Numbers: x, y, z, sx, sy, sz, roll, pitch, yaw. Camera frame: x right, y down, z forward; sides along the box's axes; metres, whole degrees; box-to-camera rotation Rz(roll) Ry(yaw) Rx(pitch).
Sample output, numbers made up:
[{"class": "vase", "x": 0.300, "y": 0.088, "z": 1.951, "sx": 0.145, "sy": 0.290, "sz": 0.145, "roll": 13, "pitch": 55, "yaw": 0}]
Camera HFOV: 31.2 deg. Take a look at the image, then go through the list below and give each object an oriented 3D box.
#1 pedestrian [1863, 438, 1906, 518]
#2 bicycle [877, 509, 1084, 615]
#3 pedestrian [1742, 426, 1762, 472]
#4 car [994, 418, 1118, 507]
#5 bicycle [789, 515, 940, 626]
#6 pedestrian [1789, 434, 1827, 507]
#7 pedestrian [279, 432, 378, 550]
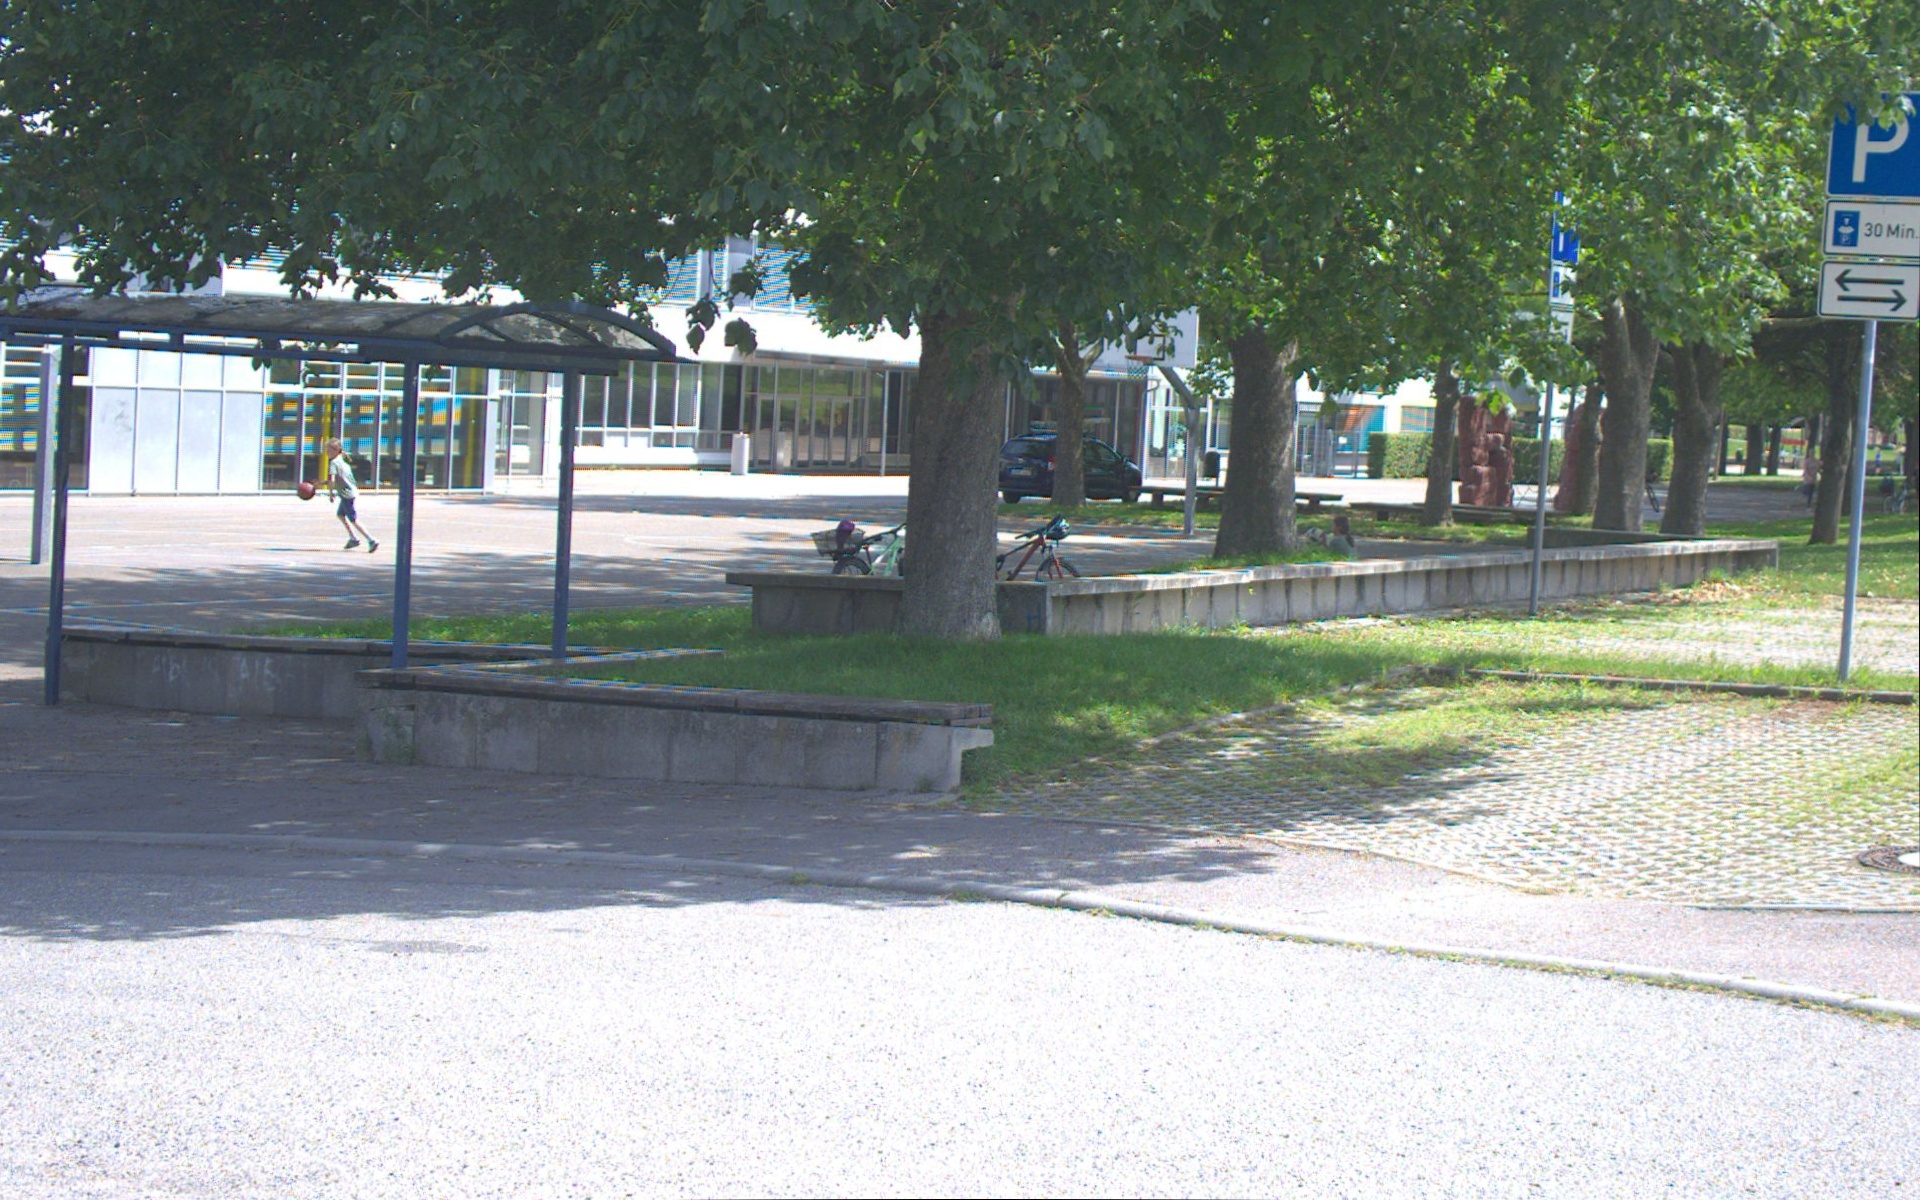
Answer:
[{"class": "pedestrian", "x": 23.530, "y": -3.107, "z": 87.502, "sx": 0.682, "sy": 2.006, "sz": 0.804, "roll": 2, "pitch": 2, "yaw": -11}, {"class": "bicycle", "x": 0.210, "y": -0.404, "z": 35.774, "sx": 2.063, "sy": 1.035, "sz": 0.572, "roll": 2, "pitch": 2, "yaw": 14}, {"class": "pedestrian", "x": 34.754, "y": -6.635, "z": 150.922, "sx": 0.724, "sy": 2.007, "sz": 0.682, "roll": 0, "pitch": 1, "yaw": 24}, {"class": "car", "x": 2.103, "y": -2.966, "z": 74.428, "sx": 1.693, "sy": 1.828, "sz": 3.408, "roll": 3, "pitch": 3, "yaw": 19}, {"class": "bicycle", "x": -0.928, "y": -0.305, "z": 33.828, "sx": 0.595, "sy": 1.035, "sz": 1.890, "roll": 2, "pitch": 3, "yaw": 29}, {"class": "pedestrian", "x": 23.719, "y": -3.621, "z": 96.165, "sx": 0.832, "sy": 2.006, "sz": 0.692, "roll": 3, "pitch": 2, "yaw": 5}, {"class": "pedestrian", "x": -7.887, "y": -1.372, "z": 42.984, "sx": 1.066, "sy": 1.418, "sz": 0.920, "roll": 2, "pitch": 2, "yaw": -3}]
